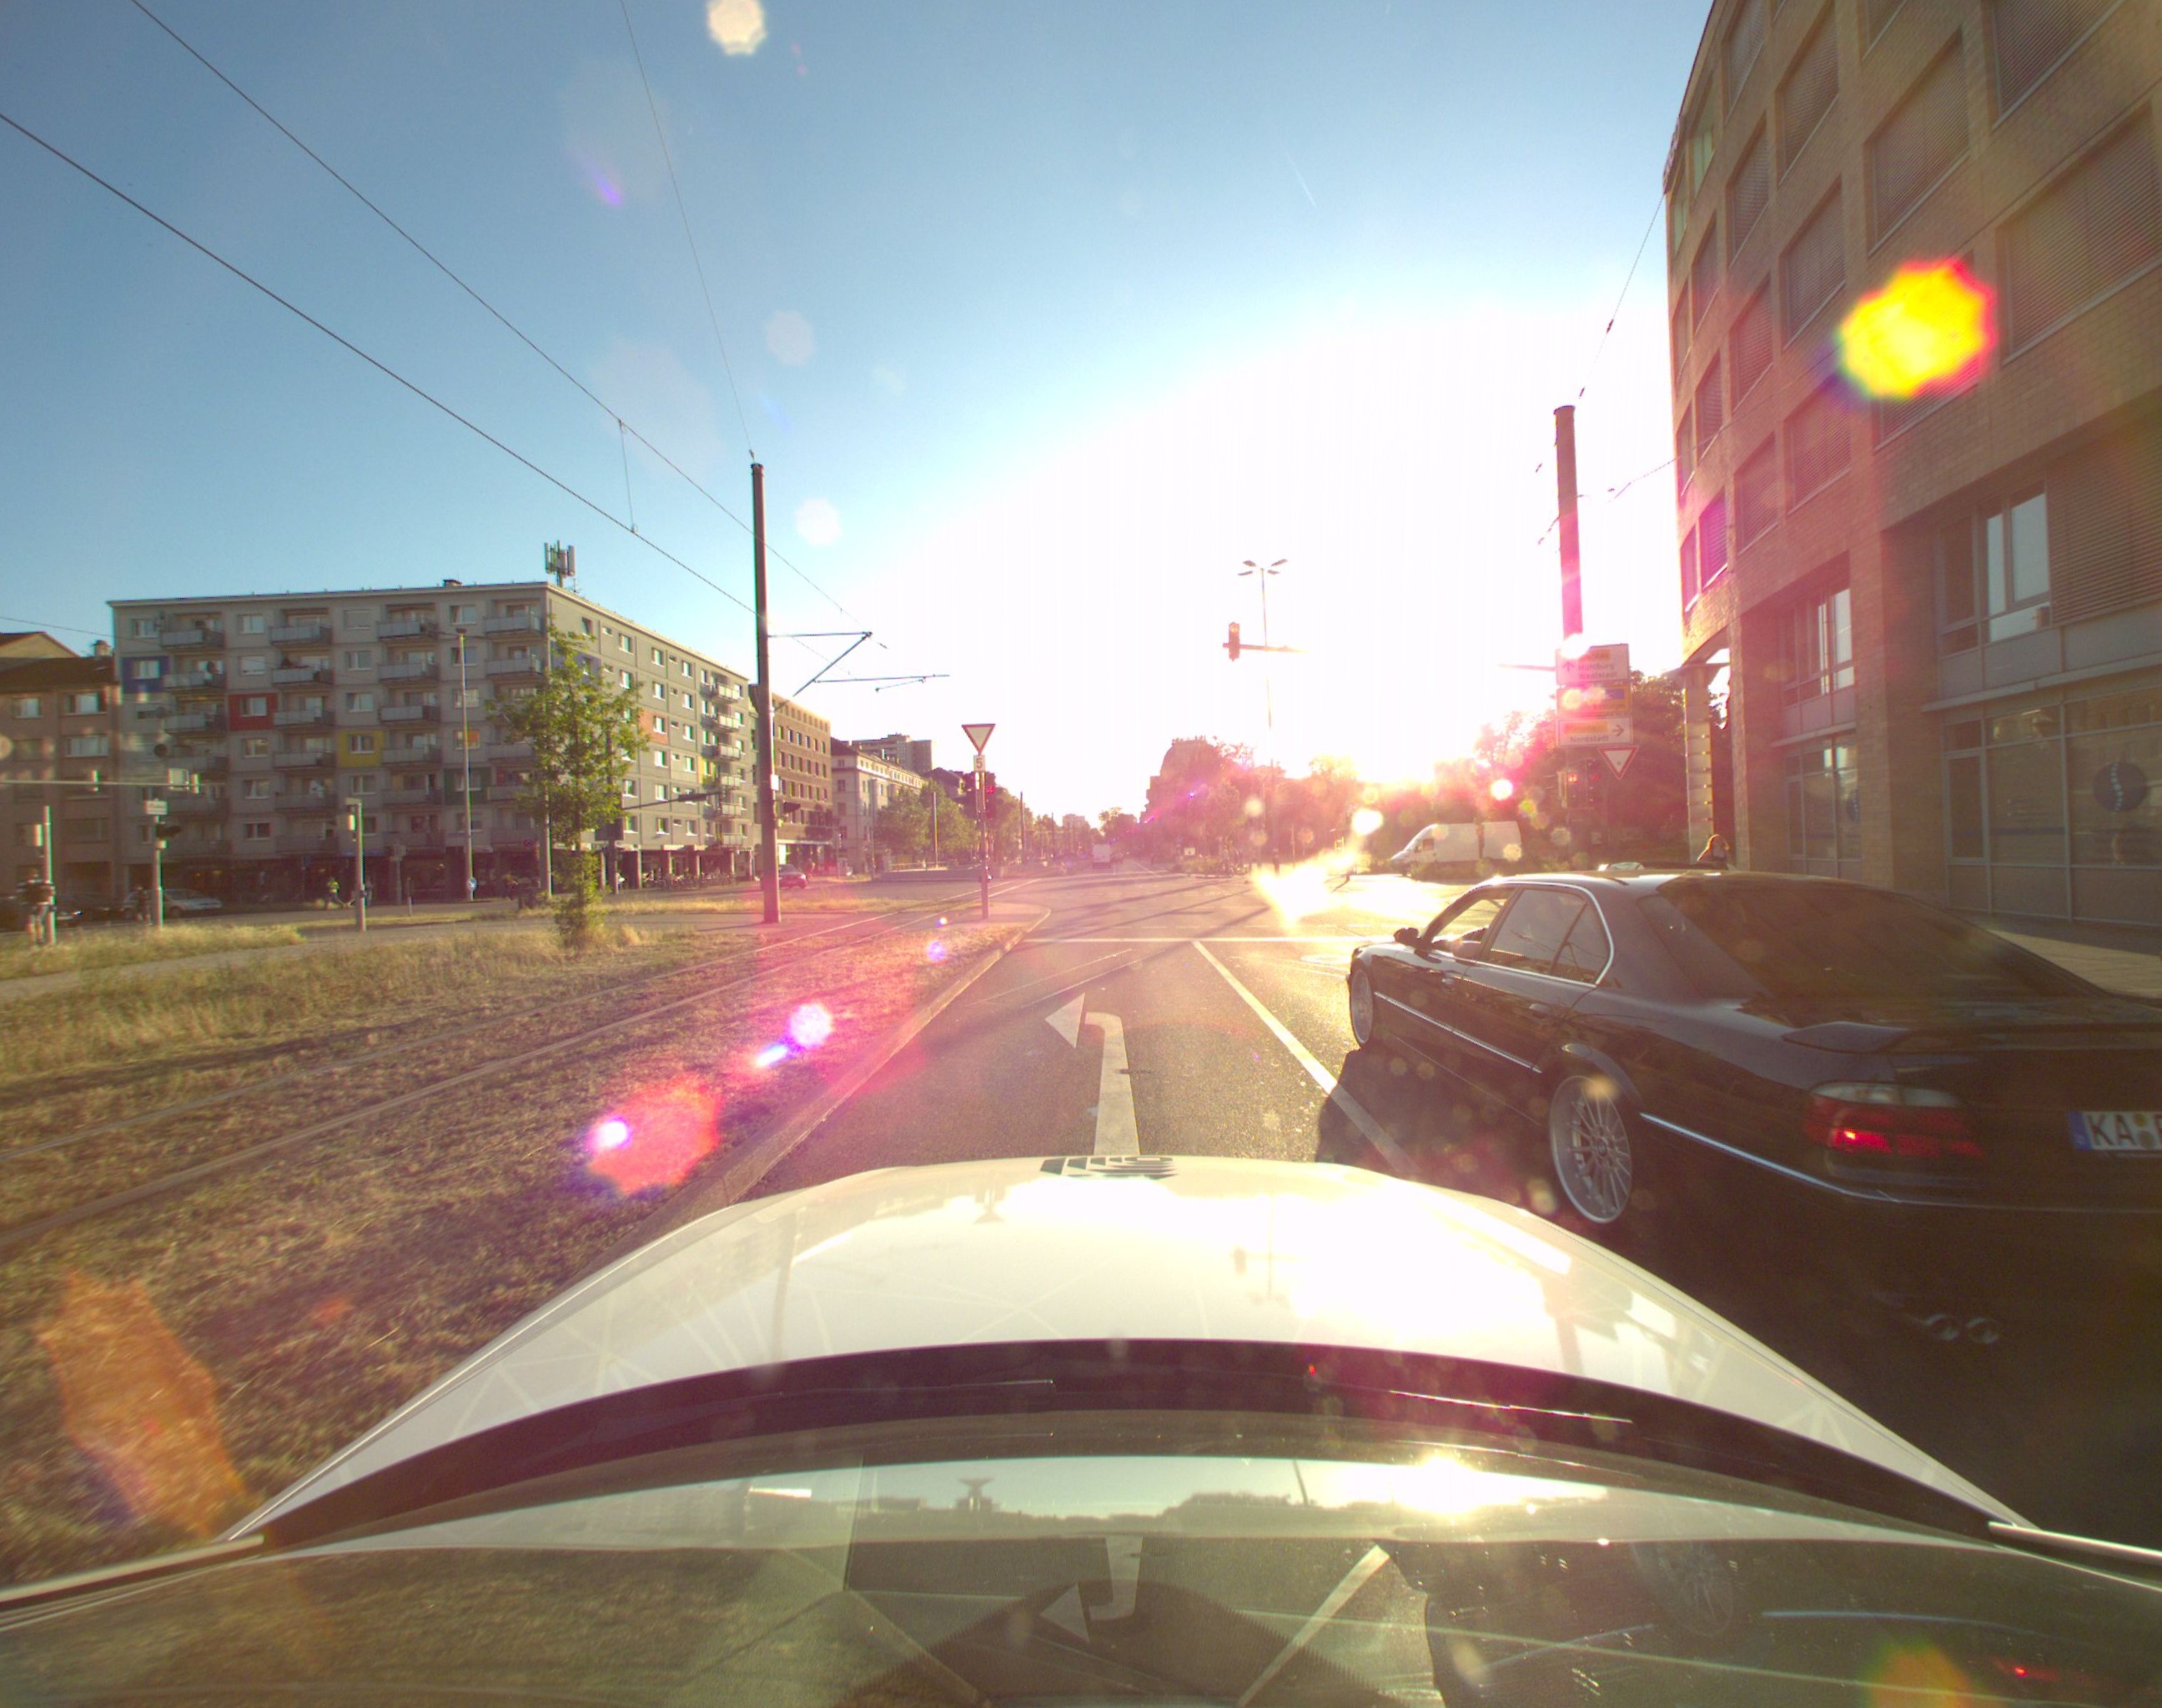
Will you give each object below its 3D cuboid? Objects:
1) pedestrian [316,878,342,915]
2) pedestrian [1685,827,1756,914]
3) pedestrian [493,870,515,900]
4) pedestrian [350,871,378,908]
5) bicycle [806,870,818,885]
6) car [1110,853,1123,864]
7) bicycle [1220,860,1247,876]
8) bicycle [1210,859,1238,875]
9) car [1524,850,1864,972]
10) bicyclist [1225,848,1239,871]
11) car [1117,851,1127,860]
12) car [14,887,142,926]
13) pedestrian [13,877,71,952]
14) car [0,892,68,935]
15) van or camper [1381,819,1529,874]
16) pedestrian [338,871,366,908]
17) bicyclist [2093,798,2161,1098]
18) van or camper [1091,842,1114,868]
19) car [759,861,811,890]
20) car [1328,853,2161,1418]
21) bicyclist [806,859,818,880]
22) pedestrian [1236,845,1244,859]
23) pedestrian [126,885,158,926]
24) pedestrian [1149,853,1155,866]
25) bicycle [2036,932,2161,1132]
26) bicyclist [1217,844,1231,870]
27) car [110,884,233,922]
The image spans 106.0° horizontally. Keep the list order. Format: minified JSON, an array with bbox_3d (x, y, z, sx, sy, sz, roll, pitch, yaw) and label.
[{"bbox_3d":[-38.768,2.176,41.993,0.630,1.847,0.682,-2,1,3],"label":"pedestrian"},{"bbox_3d":[12.048,0.289,15.361,0.674,1.569,0.800,-2,1,0],"label":"pedestrian"},{"bbox_3d":[-33.854,1.811,47.775,0.731,1.669,0.788,-2,1,36],"label":"pedestrian"},{"bbox_3d":[-37.253,1.830,42.330,0.600,1.847,0.823,-2,1,3],"label":"pedestrian"},{"bbox_3d":[-18.649,1.607,56.469,0.703,0.970,1.726,0,2,-15],"label":"bicycle"},{"bbox_3d":[4.988,0.587,114.005,1.730,1.385,4.004,-2,1,3],"label":"car"},{"bbox_3d":[9.972,0.927,53.225,1.708,0.970,0.611,-1,1,9],"label":"bicycle"},{"bbox_3d":[9.034,0.825,51.412,1.719,0.970,0.610,-1,1,6],"label":"bicycle"},{"bbox_3d":[8.358,0.660,11.696,1.777,1.354,4.269,-1,1,2],"label":"car"},{"bbox_3d":[9.866,0.345,53.229,0.848,1.442,0.665,-2,1,9],"label":"bicyclist"},{"bbox_3d":[8.346,0.297,165.439,1.789,1.566,3.998,-2,1,-1],"label":"car"},{"bbox_3d":[-49.585,2.578,40.317,3.856,1.585,1.802,-2,1,-3],"label":"car"},{"bbox_3d":[-25.351,1.465,19.871,0.713,1.762,0.654,-2,1,23],"label":"pedestrian"},{"bbox_3d":[-44.756,2.476,33.405,3.856,1.585,1.802,-2,1,-3],"label":"car"},{"bbox_3d":[20.782,-0.434,45.539,7.010,2.674,2.602,-2,1,4],"label":"van or camper"},{"bbox_3d":[-37.988,1.852,42.432,0.702,1.851,0.737,-2,1,3],"label":"pedestrian"},{"bbox_3d":[5.667,0.461,3.779,0.653,1.483,1.038,0,0,0],"label":"bicyclist"},{"bbox_3d":[2.374,0.099,87.590,2.253,2.624,4.507,-2,1,3],"label":"van or camper"},{"bbox_3d":[-16.661,1.153,45.724,1.726,1.434,3.956,-2,1,-36],"label":"car"},{"bbox_3d":[2.871,0.722,4.386,1.823,1.354,4.644,-1,1,2],"label":"car"},{"bbox_3d":[-18.643,1.089,56.458,0.662,1.442,0.852,0,1,-14],"label":"bicyclist"},{"bbox_3d":[17.889,-0.228,91.588,0.679,1.611,0.613,-2,1,3],"label":"pedestrian"},{"bbox_3d":[-38.262,2.097,33.188,0.512,1.629,0.616,-2,1,3],"label":"pedestrian"},{"bbox_3d":[8.548,0.644,97.807,0.613,1.475,0.802,-2,1,7],"label":"pedestrian"},{"bbox_3d":[5.673,0.913,3.729,0.513,0.954,1.775,0,-1,0],"label":"bicycle"},{"bbox_3d":[9.033,0.176,51.395,0.793,1.571,0.664,-2,1,6],"label":"bicyclist"},{"bbox_3d":[-45.157,2.396,40.521,3.856,1.585,1.802,-2,1,-3],"label":"car"}]
